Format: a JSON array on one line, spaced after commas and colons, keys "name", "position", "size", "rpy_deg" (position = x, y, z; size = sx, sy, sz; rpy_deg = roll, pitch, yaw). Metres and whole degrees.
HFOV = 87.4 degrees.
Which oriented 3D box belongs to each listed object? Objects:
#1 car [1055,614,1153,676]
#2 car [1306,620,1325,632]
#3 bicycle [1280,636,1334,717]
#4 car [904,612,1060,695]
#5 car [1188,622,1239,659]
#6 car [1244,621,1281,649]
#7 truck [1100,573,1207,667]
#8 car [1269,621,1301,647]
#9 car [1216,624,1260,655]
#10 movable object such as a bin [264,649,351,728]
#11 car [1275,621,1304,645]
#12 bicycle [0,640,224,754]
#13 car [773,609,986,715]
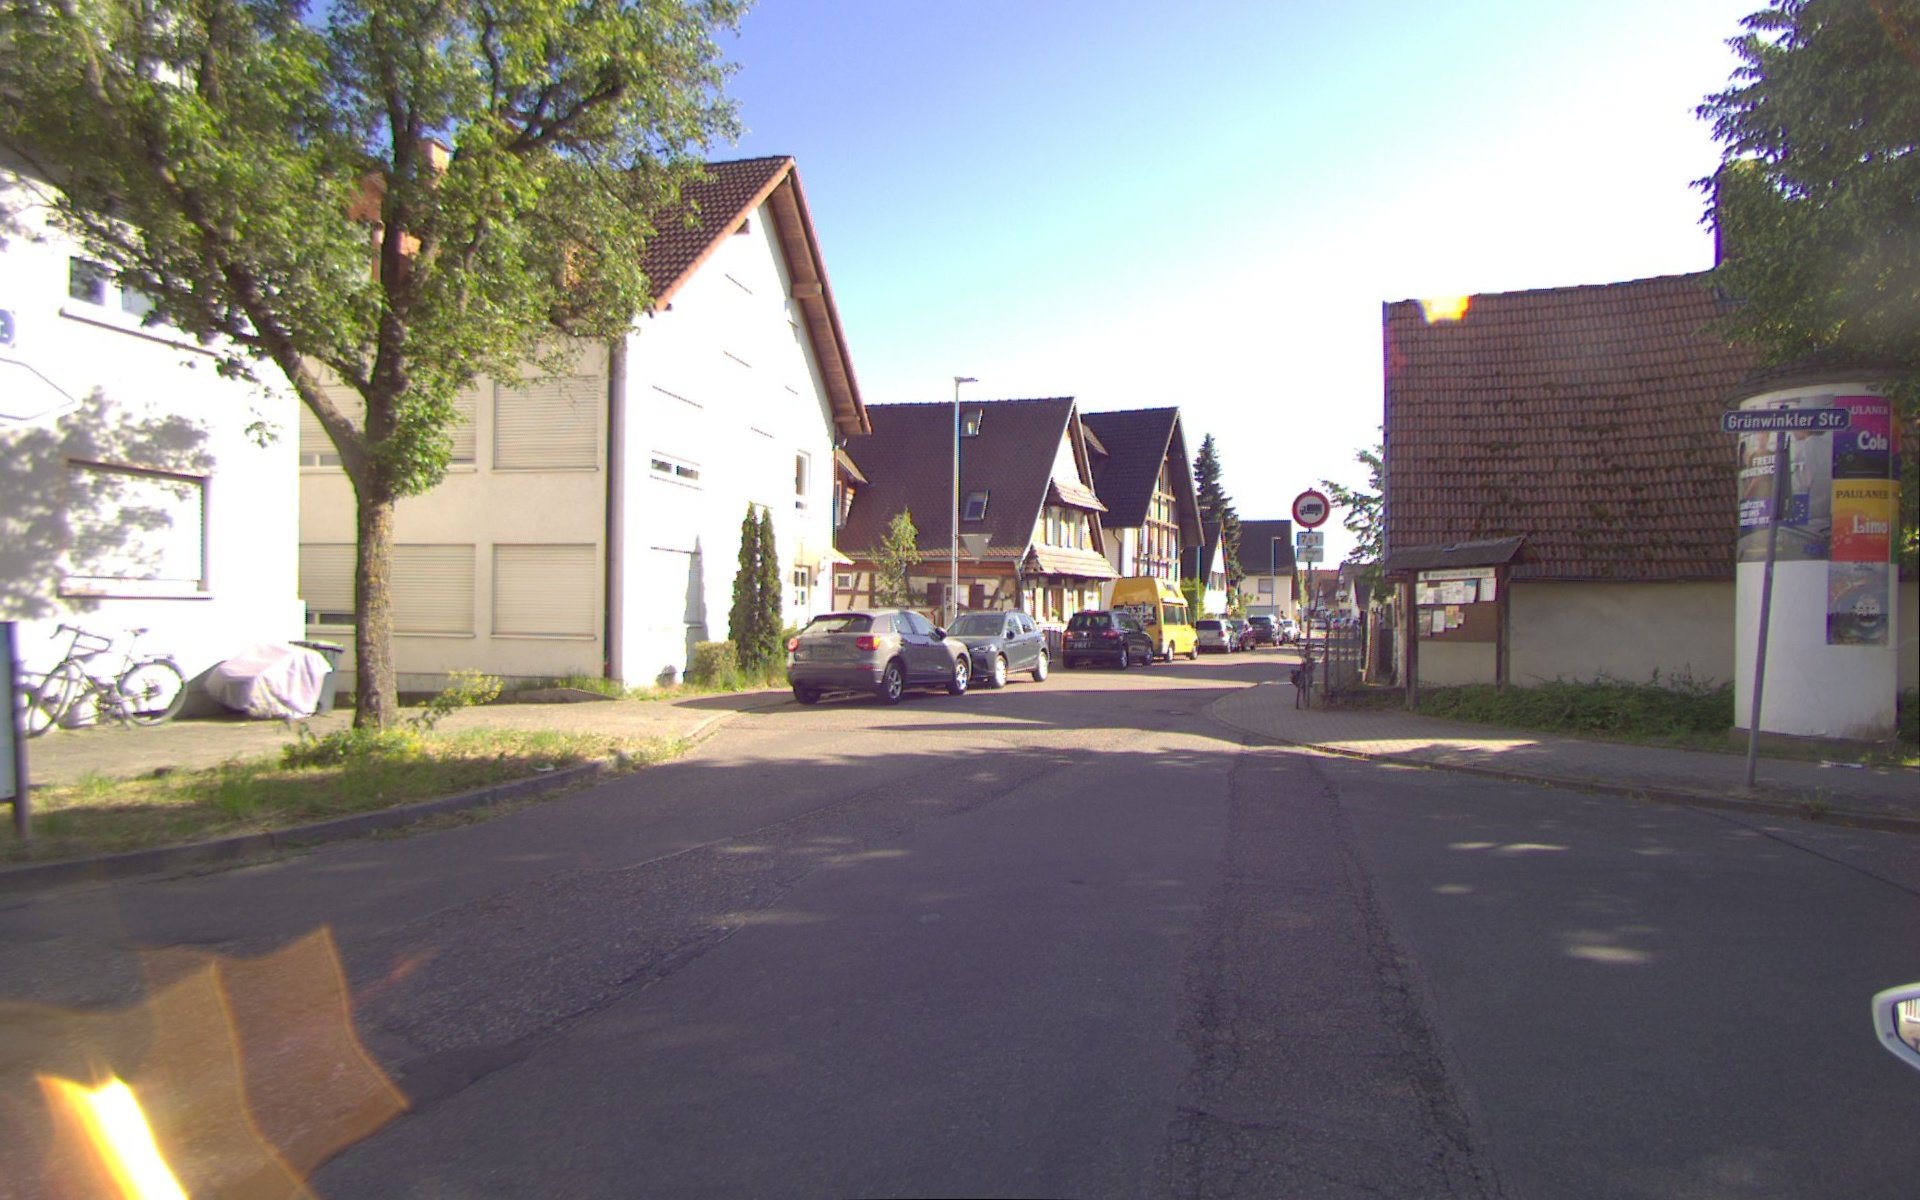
[{"name": "car", "position": [4.254, 1.267, 29.197], "size": [1.778, 1.643, 3.878], "rpy_deg": [1, -1, 25]}, {"name": "car", "position": [49.786, 3.673, 140.820], "size": [1.939, 1.604, 3.997], "rpy_deg": [1, -1, 10]}, {"name": "bicycle", "position": [5.596, 1.195, 16.154], "size": [0.427, 1.192, 1.824], "rpy_deg": [0, -1, 32]}, {"name": "car", "position": [0.585, 1.076, 21.059], "size": [1.778, 1.525, 4.105], "rpy_deg": [1, -1, 24]}, {"name": "car", "position": [10.703, 1.671, 42.294], "size": [1.618, 1.452, 3.614], "rpy_deg": [1, -1, 22]}, {"name": "car", "position": [16.410, 1.872, 54.399], "size": [1.562, 1.462, 3.614], "rpy_deg": [1, -1, 22]}, {"name": "truck", "position": [6.703, 0.707, 34.208], "size": [2.232, 2.906, 5.779], "rpy_deg": [1, -1, 24]}, {"name": "car", "position": [19.697, 2.048, 60.781], "size": [1.562, 1.462, 3.614], "rpy_deg": [1, -1, 22]}, {"name": "car", "position": [12.879, 1.800, 46.396], "size": [1.562, 1.354, 3.614], "rpy_deg": [1, -1, 22]}, {"name": "movable object such as a bin", "position": [-8.341, 1.121, 12.863], "size": [0.615, 0.958, 0.661], "rpy_deg": [1, -1, 11]}, {"name": "car", "position": [21.402, 2.127, 65.106], "size": [1.562, 1.462, 3.614], "rpy_deg": [1, -1, 22]}, {"name": "bicycle", "position": [-8.898, 0.951, 10.399], "size": [0.569, 1.066, 2.035], "rpy_deg": [0, -2, 23]}, {"name": "car", "position": [-1.211, 0.978, 17.055], "size": [1.838, 1.525, 4.105], "rpy_deg": [1, -1, 24]}]
